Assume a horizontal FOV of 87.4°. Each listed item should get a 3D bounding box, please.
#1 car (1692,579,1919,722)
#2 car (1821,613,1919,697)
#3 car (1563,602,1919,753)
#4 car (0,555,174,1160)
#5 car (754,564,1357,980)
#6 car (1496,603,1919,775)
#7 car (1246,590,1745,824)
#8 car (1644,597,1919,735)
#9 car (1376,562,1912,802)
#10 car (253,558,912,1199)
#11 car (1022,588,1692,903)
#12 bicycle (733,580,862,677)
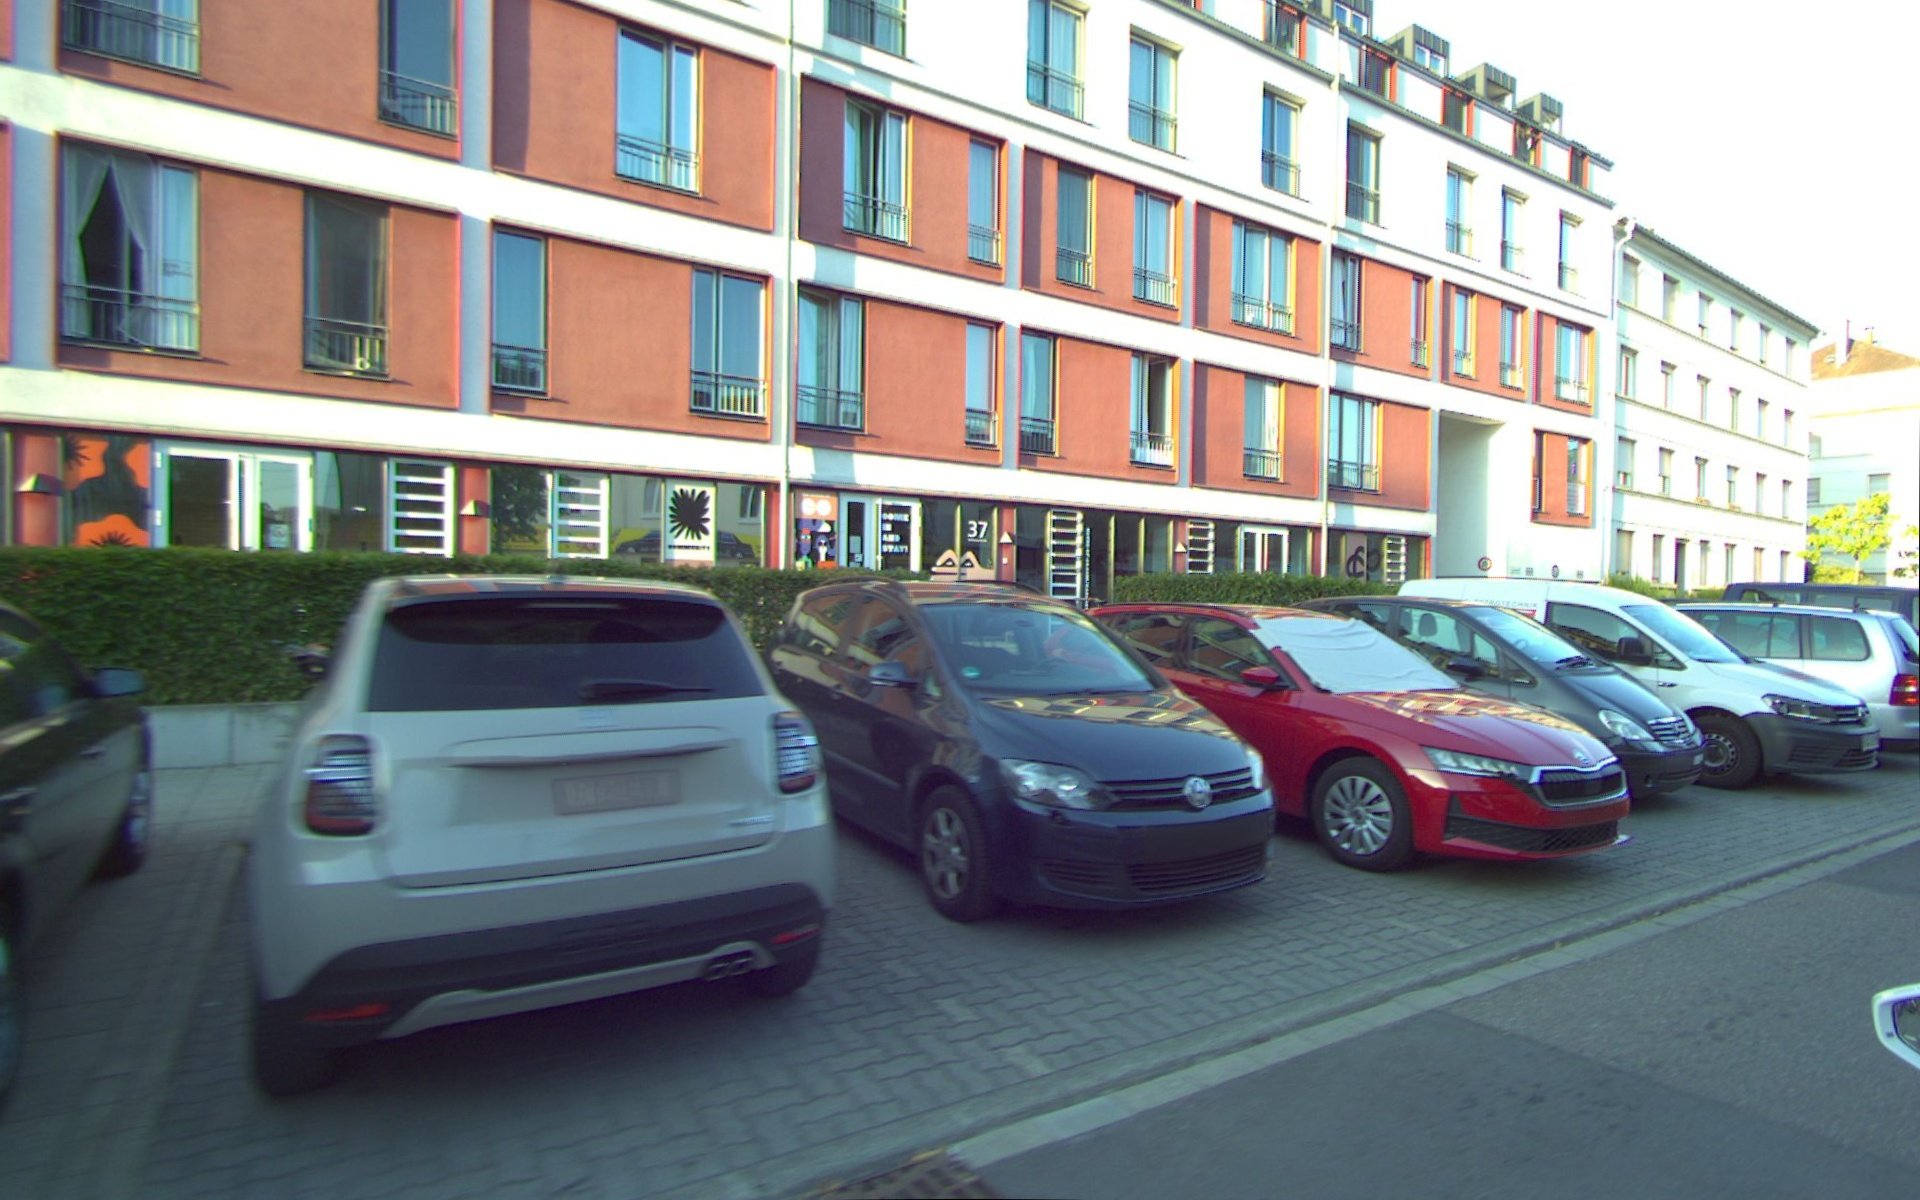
[{"bbox_3d":[14.539,0.749,15.530,1.976,2.082,4.832,1,0,-30],"label":"car"},{"bbox_3d":[18.496,1.085,18.175,1.722,1.435,4.107,1,2,-37],"label":"car"},{"bbox_3d":[10.345,0.874,13.037,1.778,1.639,3.962,1,0,-34],"label":"car"},{"bbox_3d":[-3.808,0.614,3.146,1.687,1.545,4.311,1,1,-32],"label":"car"},{"bbox_3d":[0.196,0.642,6.054,1.679,1.639,3.867,1,1,-30],"label":"car"},{"bbox_3d":[8.684,0.860,11.614,2.037,1.610,3.952,1,0,-41],"label":"car"},{"bbox_3d":[4.552,0.742,8.985,1.766,1.584,3.508,1,1,-34],"label":"car"},{"bbox_3d":[12.389,0.852,14.141,1.881,1.746,4.162,1,0,-32],"label":"car"},{"bbox_3d":[6.679,0.662,10.300,1.877,1.921,4.154,1,0,-32],"label":"car"},{"bbox_3d":[-1.895,0.647,4.520,1.735,1.560,3.929,1,1,-30],"label":"car"},{"bbox_3d":[2.382,0.700,7.163,1.768,1.513,4.240,1,0,-32],"label":"car"},{"bbox_3d":[-2.310,0.405,14.394,1.782,1.331,0.514,1,1,-7],"label":"bicycle"}]
